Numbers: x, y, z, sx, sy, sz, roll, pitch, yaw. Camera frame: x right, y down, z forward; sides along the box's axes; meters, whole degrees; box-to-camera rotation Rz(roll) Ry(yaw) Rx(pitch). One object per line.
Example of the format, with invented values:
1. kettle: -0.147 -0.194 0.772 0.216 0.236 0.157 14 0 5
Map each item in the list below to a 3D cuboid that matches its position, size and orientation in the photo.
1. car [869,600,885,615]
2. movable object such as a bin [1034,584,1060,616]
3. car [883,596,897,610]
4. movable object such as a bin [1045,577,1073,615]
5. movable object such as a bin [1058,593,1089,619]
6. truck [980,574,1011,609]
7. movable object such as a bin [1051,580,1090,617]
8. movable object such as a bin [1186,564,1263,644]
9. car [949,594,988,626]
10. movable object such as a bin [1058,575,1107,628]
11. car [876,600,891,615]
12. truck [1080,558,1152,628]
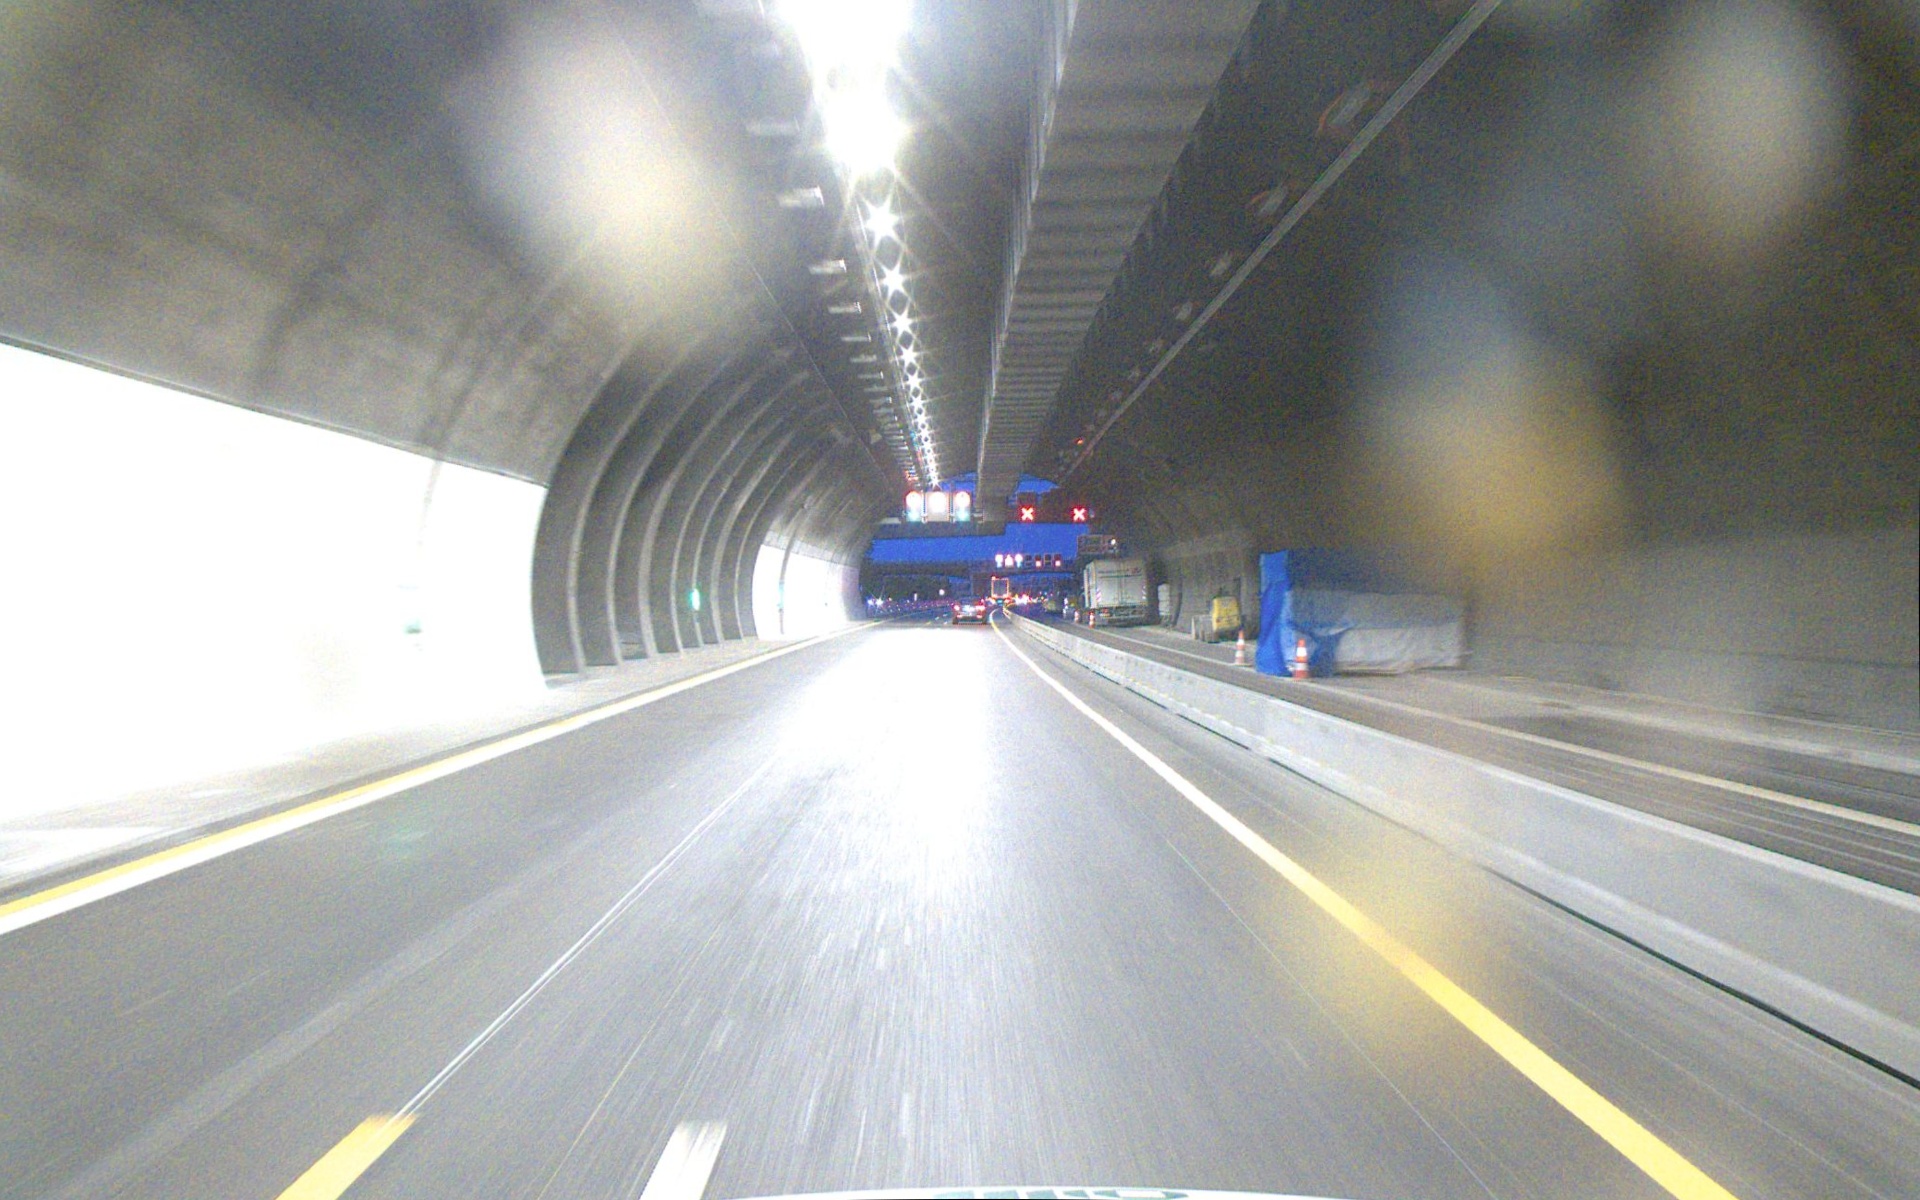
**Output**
1. car: -11.279 1.012 224.253 1.953 2.049 4.000 0 0 0
2. movable object such as a bin: 9.868 0.002 188.147 2.680 3.516 6.947 0 0 1
3. car: -10.190 0.409 241.282 1.953 2.049 4.000 0 0 0
4. movable object such as a bin: 10.091 -0.409 168.987 2.680 3.743 6.334 0 0 1
5. movable object such as a bin: 7.973 0.427 116.890 1.938 1.847 3.836 0 0 0
6. truck: 5.304 -1.212 246.493 4.452 5.074 9.600 0 0 1
7. movable object such as a bin: 8.622 -0.093 129.594 2.680 2.802 7.050 0 0 1
8. movable object such as a bin: 8.682 0.131 54.494 1.721 2.421 3.999 -3 0 -1
9. car: 0.403 0.538 87.656 1.850 1.635 3.998 0 0 -3
10. movable object such as a bin: 6.844 0.075 93.037 2.192 2.843 7.232 0 0 0
11. car: -10.839 1.051 234.348 1.953 2.049 4.000 0 0 0
12. truck: 7.784 -0.321 83.303 2.833 3.329 8.400 0 0 0
